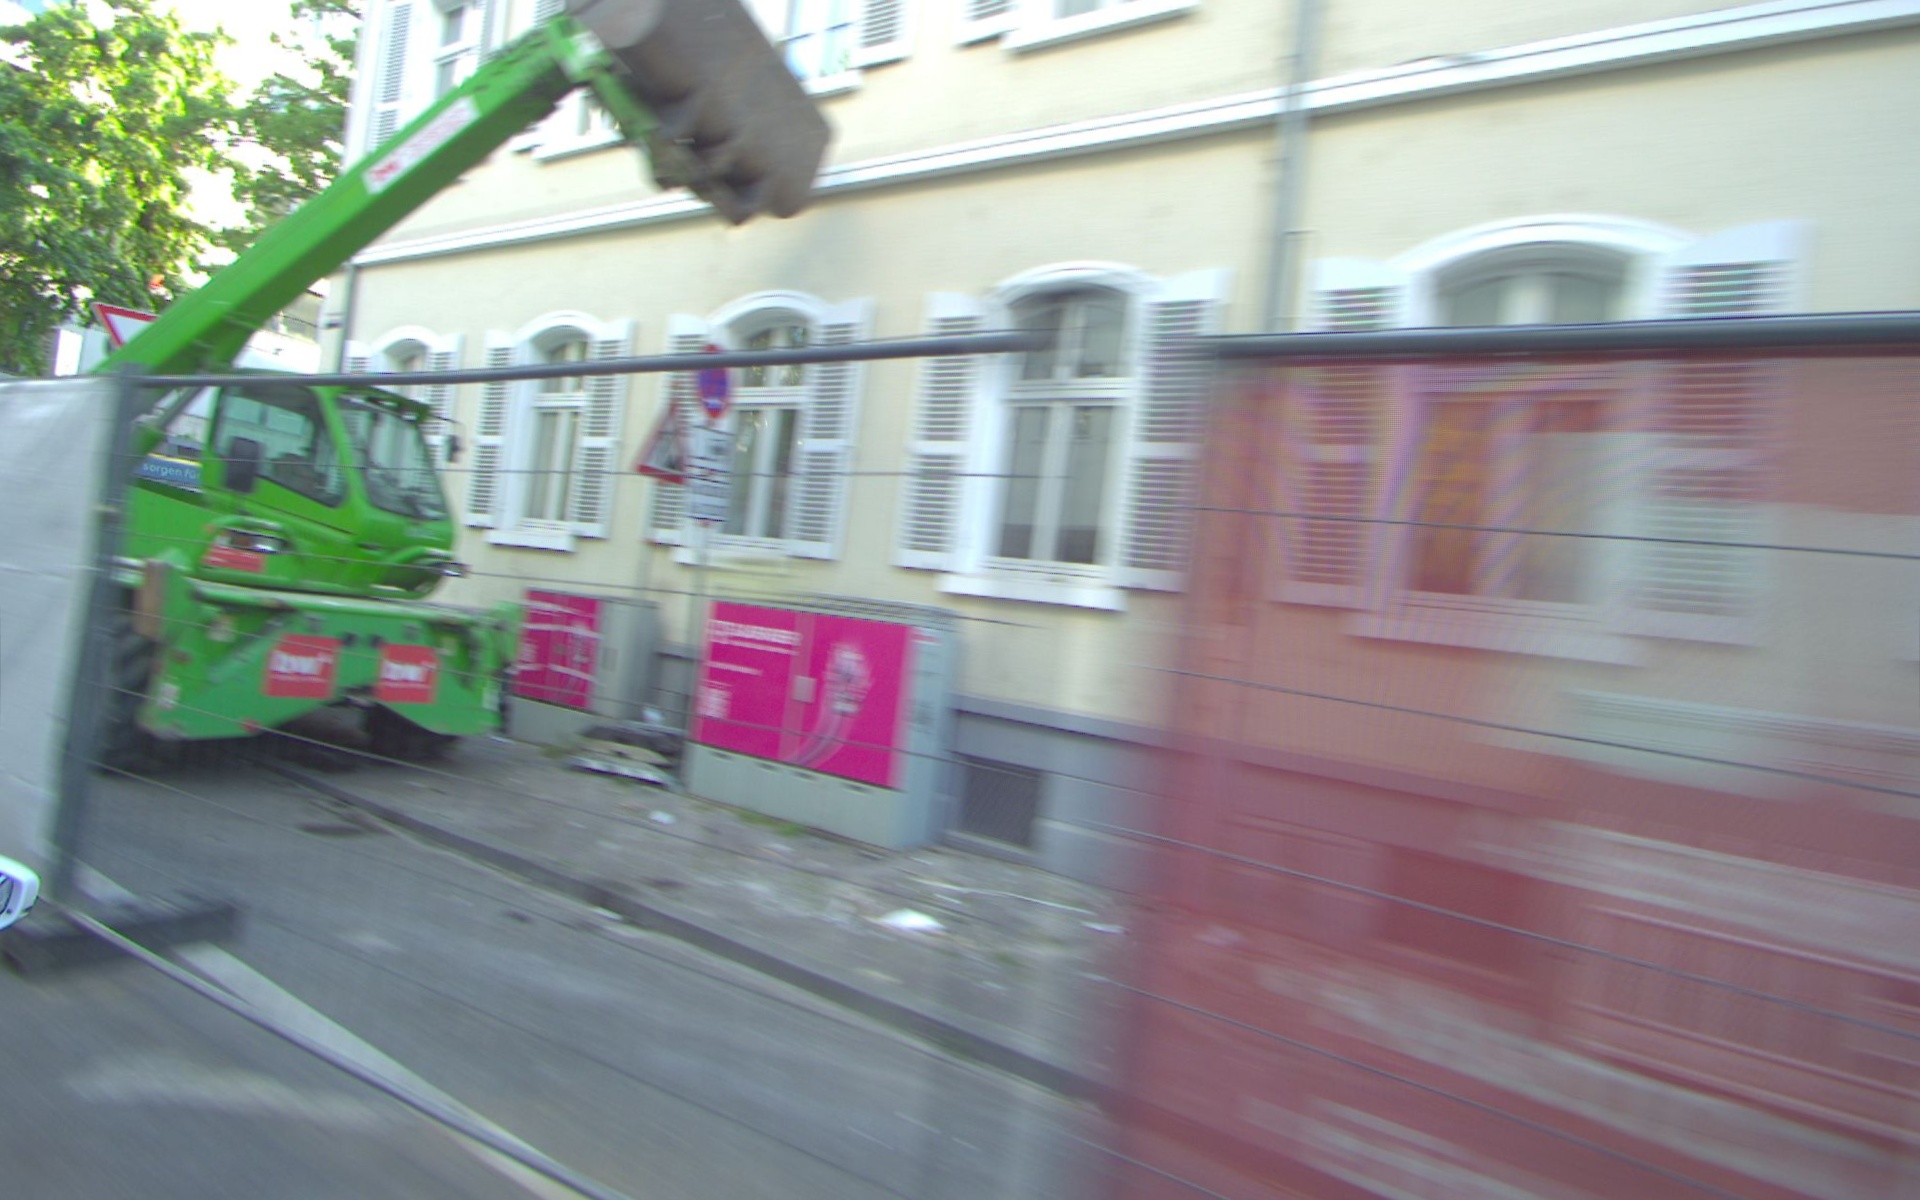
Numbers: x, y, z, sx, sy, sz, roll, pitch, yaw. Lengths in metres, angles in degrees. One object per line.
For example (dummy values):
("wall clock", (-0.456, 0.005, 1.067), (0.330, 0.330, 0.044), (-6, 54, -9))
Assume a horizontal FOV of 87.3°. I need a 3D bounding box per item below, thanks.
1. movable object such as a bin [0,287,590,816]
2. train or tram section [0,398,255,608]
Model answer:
("movable object such as a bin", (-6.028, -0.428, 8.010), (5.470, 2.907, 2.640), (7, -1, 30))
("train or tram section", (-19.805, -2.206, 18.747), (2.976, 3.564, 10.355), (6, -2, 31))
